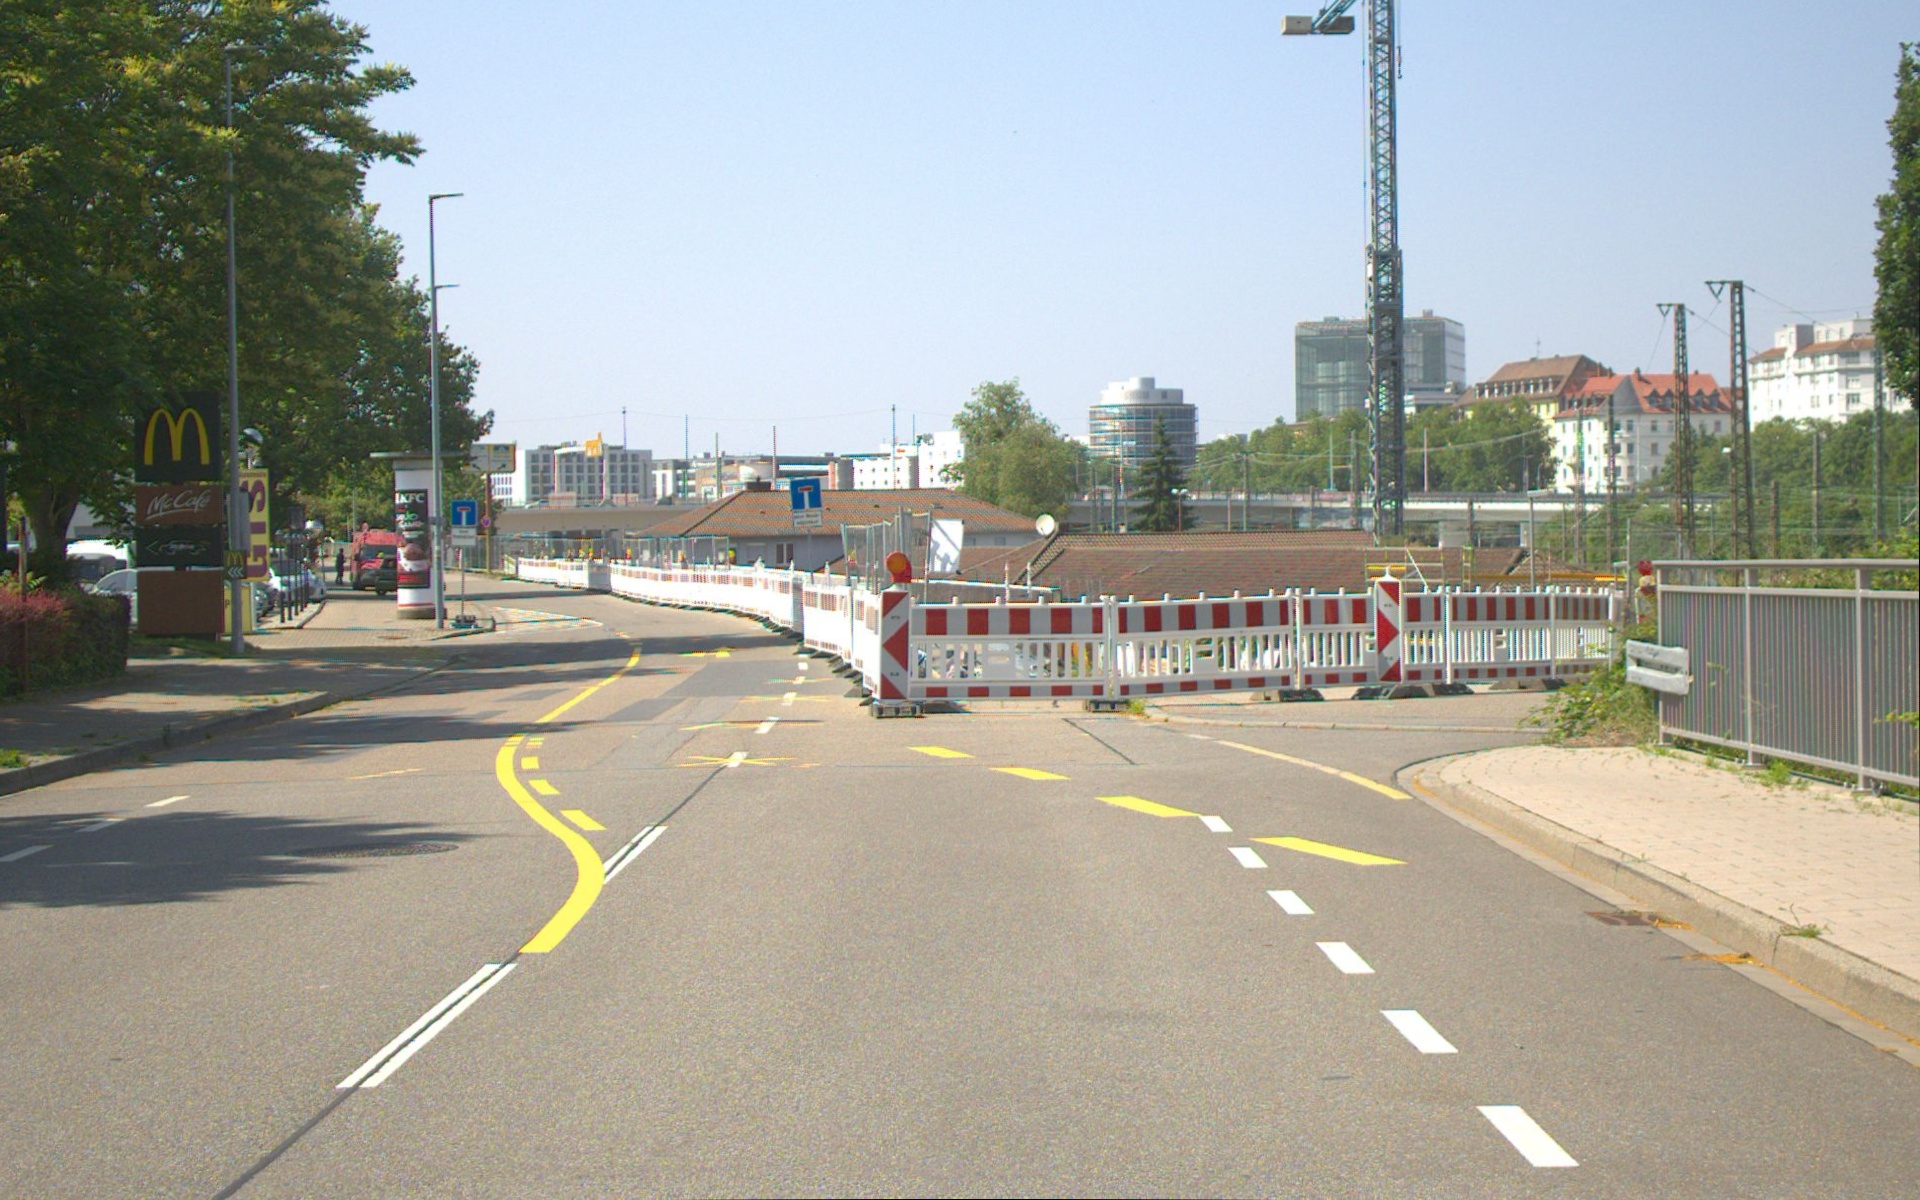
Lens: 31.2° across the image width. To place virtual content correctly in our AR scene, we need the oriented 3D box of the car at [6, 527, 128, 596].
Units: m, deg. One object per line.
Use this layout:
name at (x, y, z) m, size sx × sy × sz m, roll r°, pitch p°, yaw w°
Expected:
car at (-25.725, -1.098, 98.950) m, size 1.823 × 1.923 × 3.998 m, roll -1°, pitch 1°, yaw -40°

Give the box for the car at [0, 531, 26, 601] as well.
car at (-27.789, -0.928, 95.568) m, size 1.994 × 1.897 × 3.998 m, roll -1°, pitch 1°, yaw -40°
